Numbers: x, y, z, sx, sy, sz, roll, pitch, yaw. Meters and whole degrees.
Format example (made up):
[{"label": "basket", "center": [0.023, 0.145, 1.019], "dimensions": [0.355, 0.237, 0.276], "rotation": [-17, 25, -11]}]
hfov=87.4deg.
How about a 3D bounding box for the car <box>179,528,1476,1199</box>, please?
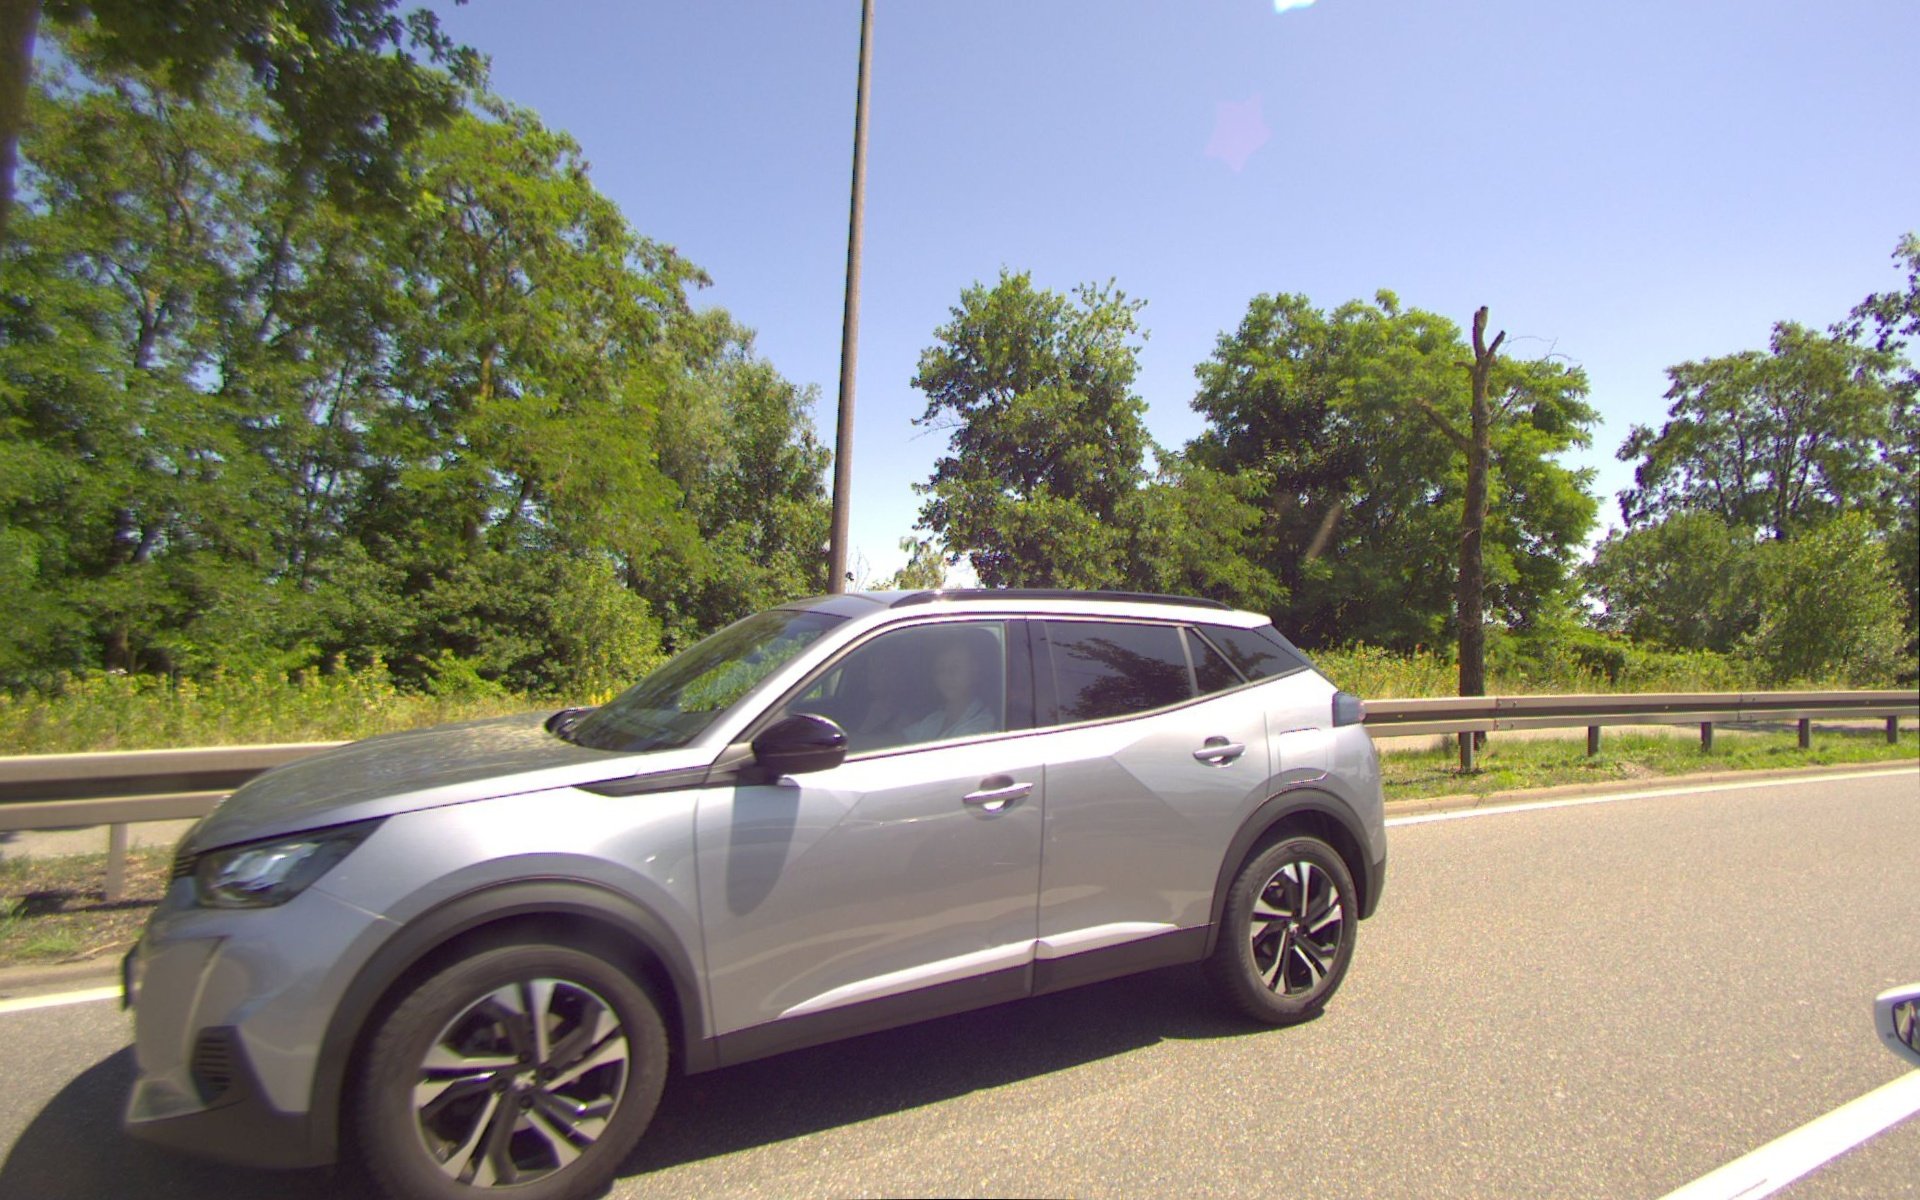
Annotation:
[{"label": "car", "center": [-0.159, 0.699, 3.742], "dimensions": [4.077, 1.576, 1.742], "rotation": [2, -1, -29]}]
